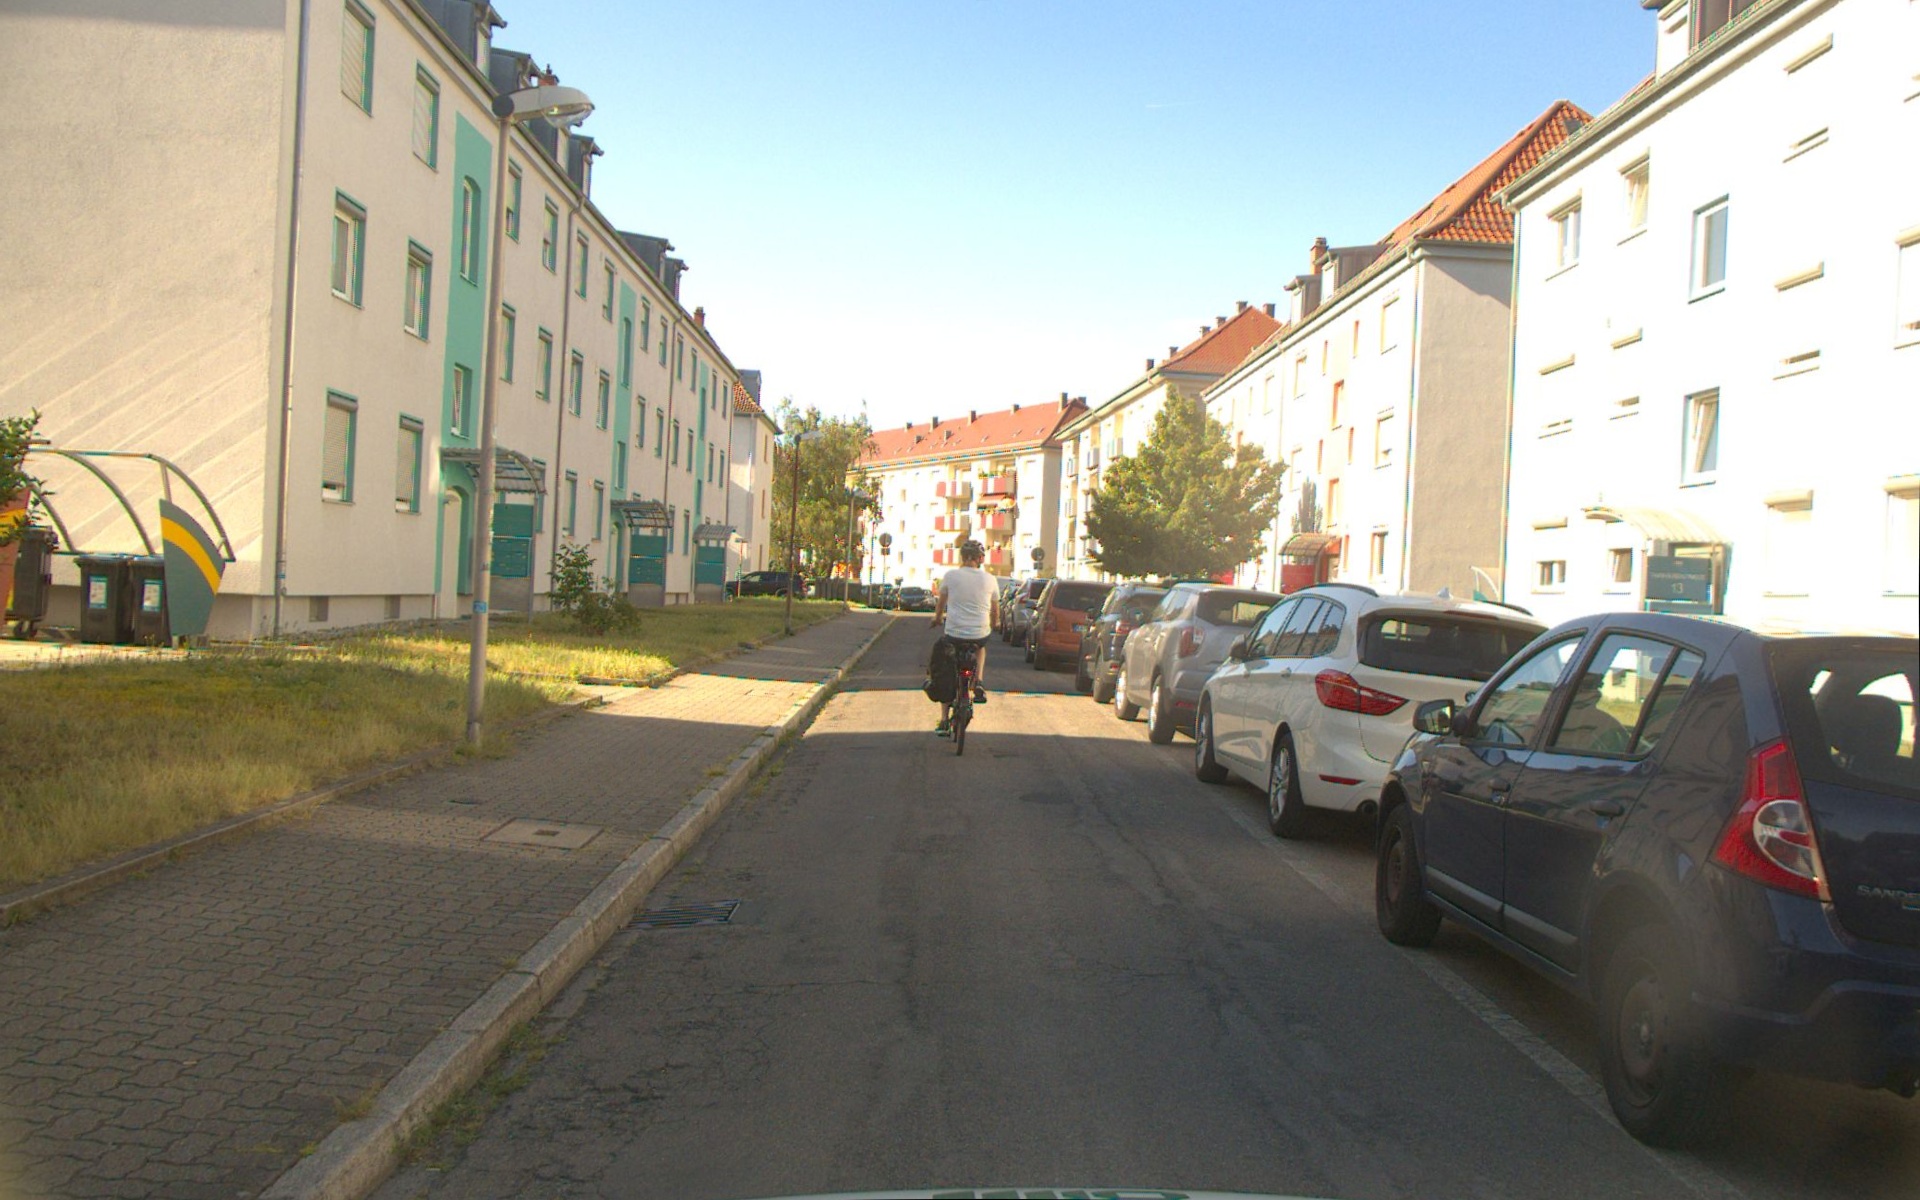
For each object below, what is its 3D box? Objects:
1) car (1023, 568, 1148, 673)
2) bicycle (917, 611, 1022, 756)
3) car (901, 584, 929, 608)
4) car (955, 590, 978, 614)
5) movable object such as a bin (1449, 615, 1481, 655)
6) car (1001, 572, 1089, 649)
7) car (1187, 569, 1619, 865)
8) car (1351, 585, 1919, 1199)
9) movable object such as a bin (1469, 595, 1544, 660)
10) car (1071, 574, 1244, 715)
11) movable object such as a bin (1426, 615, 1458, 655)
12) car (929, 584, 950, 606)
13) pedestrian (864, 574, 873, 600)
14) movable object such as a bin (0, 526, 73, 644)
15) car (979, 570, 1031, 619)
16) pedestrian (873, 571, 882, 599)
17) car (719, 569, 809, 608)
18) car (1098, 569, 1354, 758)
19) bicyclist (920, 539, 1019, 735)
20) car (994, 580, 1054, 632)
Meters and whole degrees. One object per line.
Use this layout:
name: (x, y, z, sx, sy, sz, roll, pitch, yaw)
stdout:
car: (2.255, 0.329, 30.709, 1.824, 1.697, 4.126, 4, 1, -1)
bicycle: (0.051, 0.704, 14.858, 0.792, 1.148, 2.101, 1, 1, -3)
car: (-2.669, -0.222, 97.756, 1.441, 1.358, 3.137, -1, 1, -5)
car: (0.426, 0.129, 114.245, 1.354, 1.523, 3.075, 3, 1, -3)
movable object such as a bin: (11.903, 0.824, 38.977, 0.512, 0.901, 0.633, 2, 1, -1)
car: (2.060, 0.206, 41.292, 1.667, 1.699, 4.378, 4, 1, -3)
car: (2.856, 0.637, 11.724, 1.656, 1.602, 4.433, 4, 1, -2)
car: (2.781, 0.752, 6.192, 1.608, 1.524, 4.156, 2, 1, 0)
movable object such as a bin: (12.842, 0.629, 38.914, 1.332, 1.440, 1.187, 2, 0, -1)
car: (2.641, 0.526, 23.056, 1.678, 1.623, 4.397, 5, 1, -1)
movable object such as a bin: (11.357, 0.816, 38.981, 0.512, 0.901, 0.633, 2, 1, -1)
car: (-1.594, -0.401, 126.909, 1.440, 1.542, 3.075, 3, 1, -3)
pedestrian: (-5.180, -0.760, 93.686, 0.425, 1.452, 0.543, 2, 0, -1)
movable object such as a bin: (-11.527, -0.195, 19.938, 1.228, 1.380, 0.904, 2, 1, -13)
car: (1.725, -0.247, 64.793, 1.641, 1.769, 3.941, 3, 1, -3)
pedestrian: (-4.686, -0.846, 93.764, 0.425, 1.602, 0.543, 2, 0, -1)
car: (-9.307, -0.546, 78.864, 4.149, 1.667, 1.581, 2, 1, -5)
car: (2.700, 0.561, 17.813, 1.716, 1.645, 4.450, 5, 1, -3)
bicyclist: (0.070, 0.314, 14.695, 0.792, 1.672, 0.898, 1, 1, -3)
car: (1.917, 0.149, 50.545, 1.527, 1.436, 3.933, 3, 1, -1)
